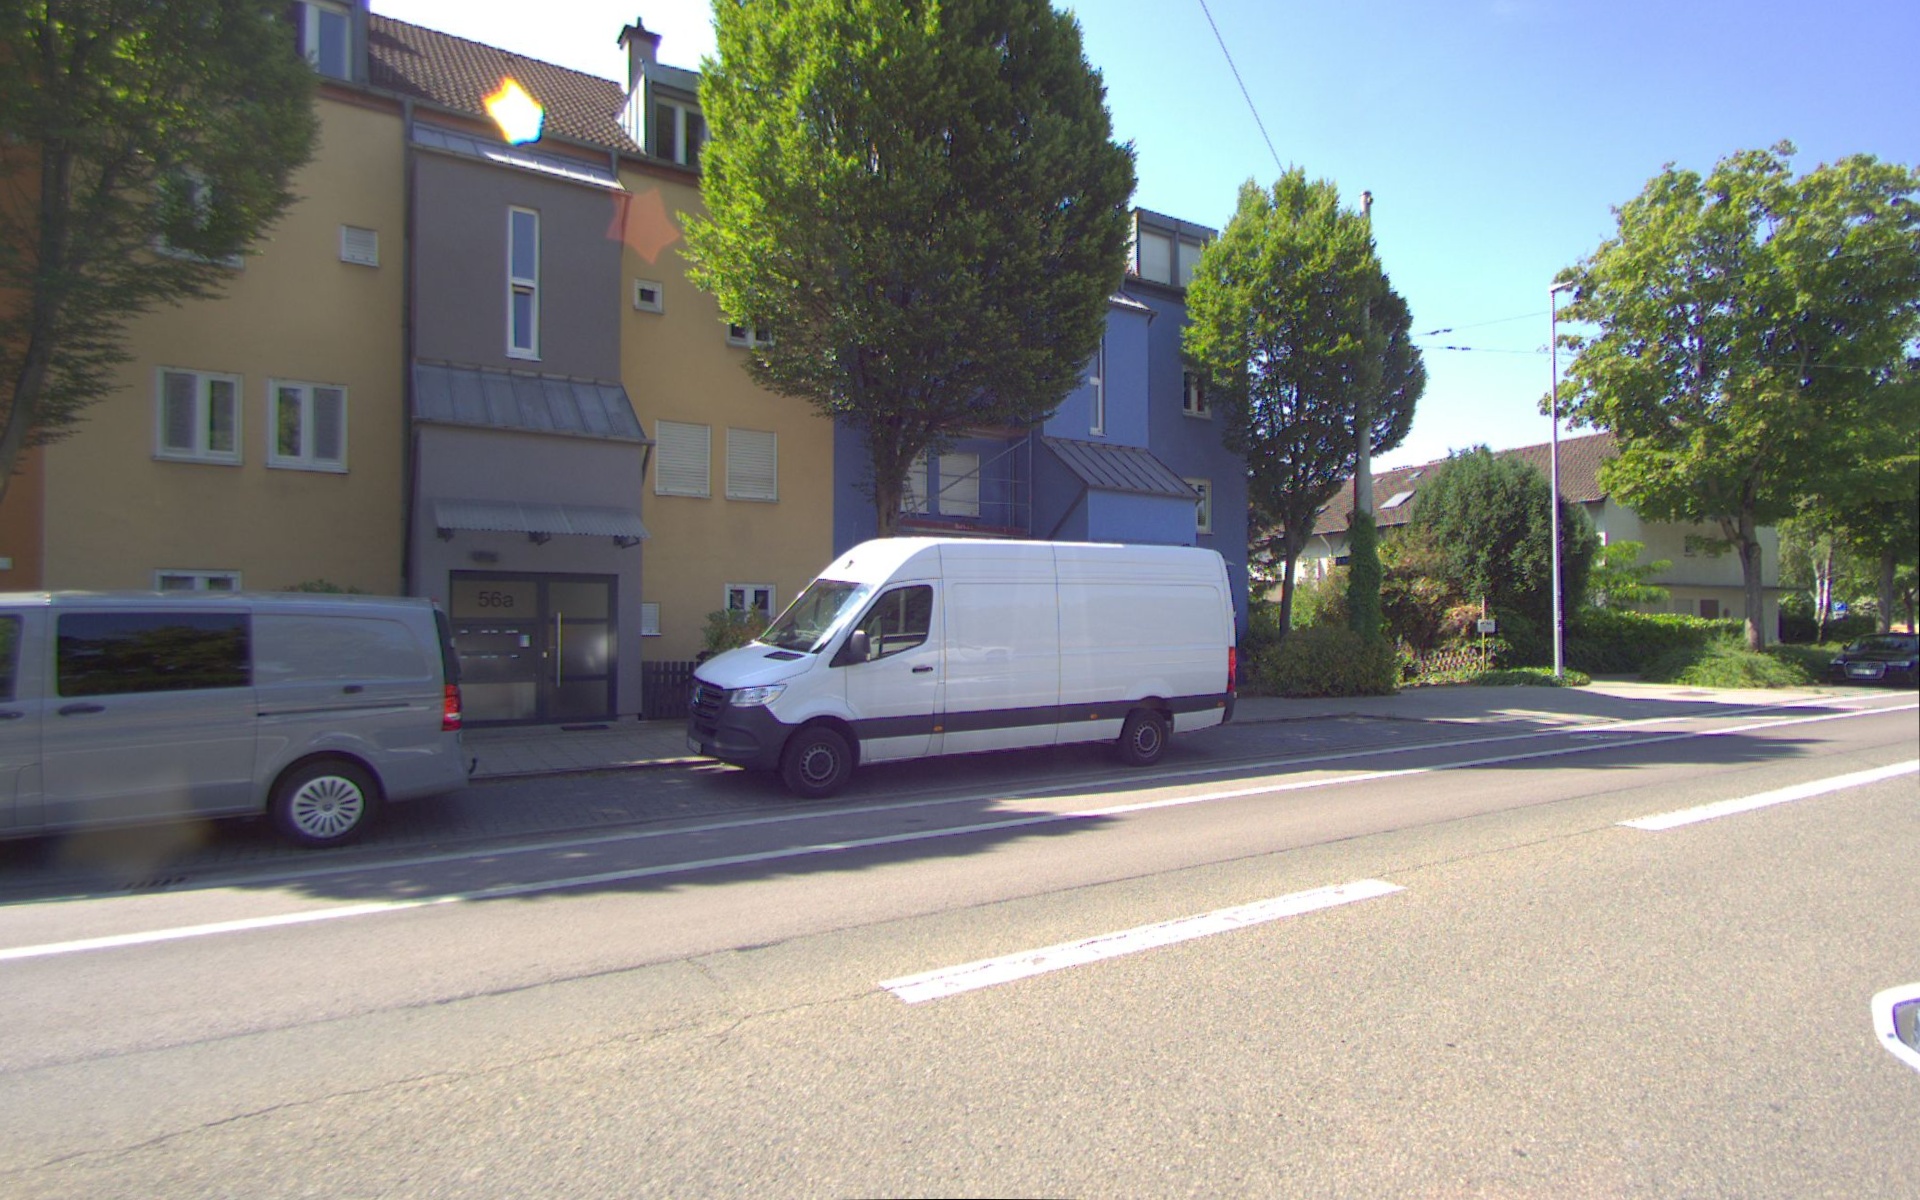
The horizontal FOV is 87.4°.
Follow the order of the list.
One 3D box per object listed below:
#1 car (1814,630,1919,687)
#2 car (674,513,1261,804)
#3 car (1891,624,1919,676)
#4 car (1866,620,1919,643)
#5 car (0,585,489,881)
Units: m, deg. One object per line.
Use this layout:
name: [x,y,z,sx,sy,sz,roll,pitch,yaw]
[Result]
car: [25.996,1.581,28.306,4.862,1.485,1.828,1,-2,-36]
car: [0.363,0.560,12.033,7.005,2.713,1.983,1,2,-31]
car: [31.942,1.590,32.318,4.840,1.627,1.752,1,-1,-32]
car: [90.981,3.058,97.447,1.982,2.040,4.225,2,0,-37]
car: [-6.459,0.883,7.768,4.911,1.891,1.982,1,2,-32]
